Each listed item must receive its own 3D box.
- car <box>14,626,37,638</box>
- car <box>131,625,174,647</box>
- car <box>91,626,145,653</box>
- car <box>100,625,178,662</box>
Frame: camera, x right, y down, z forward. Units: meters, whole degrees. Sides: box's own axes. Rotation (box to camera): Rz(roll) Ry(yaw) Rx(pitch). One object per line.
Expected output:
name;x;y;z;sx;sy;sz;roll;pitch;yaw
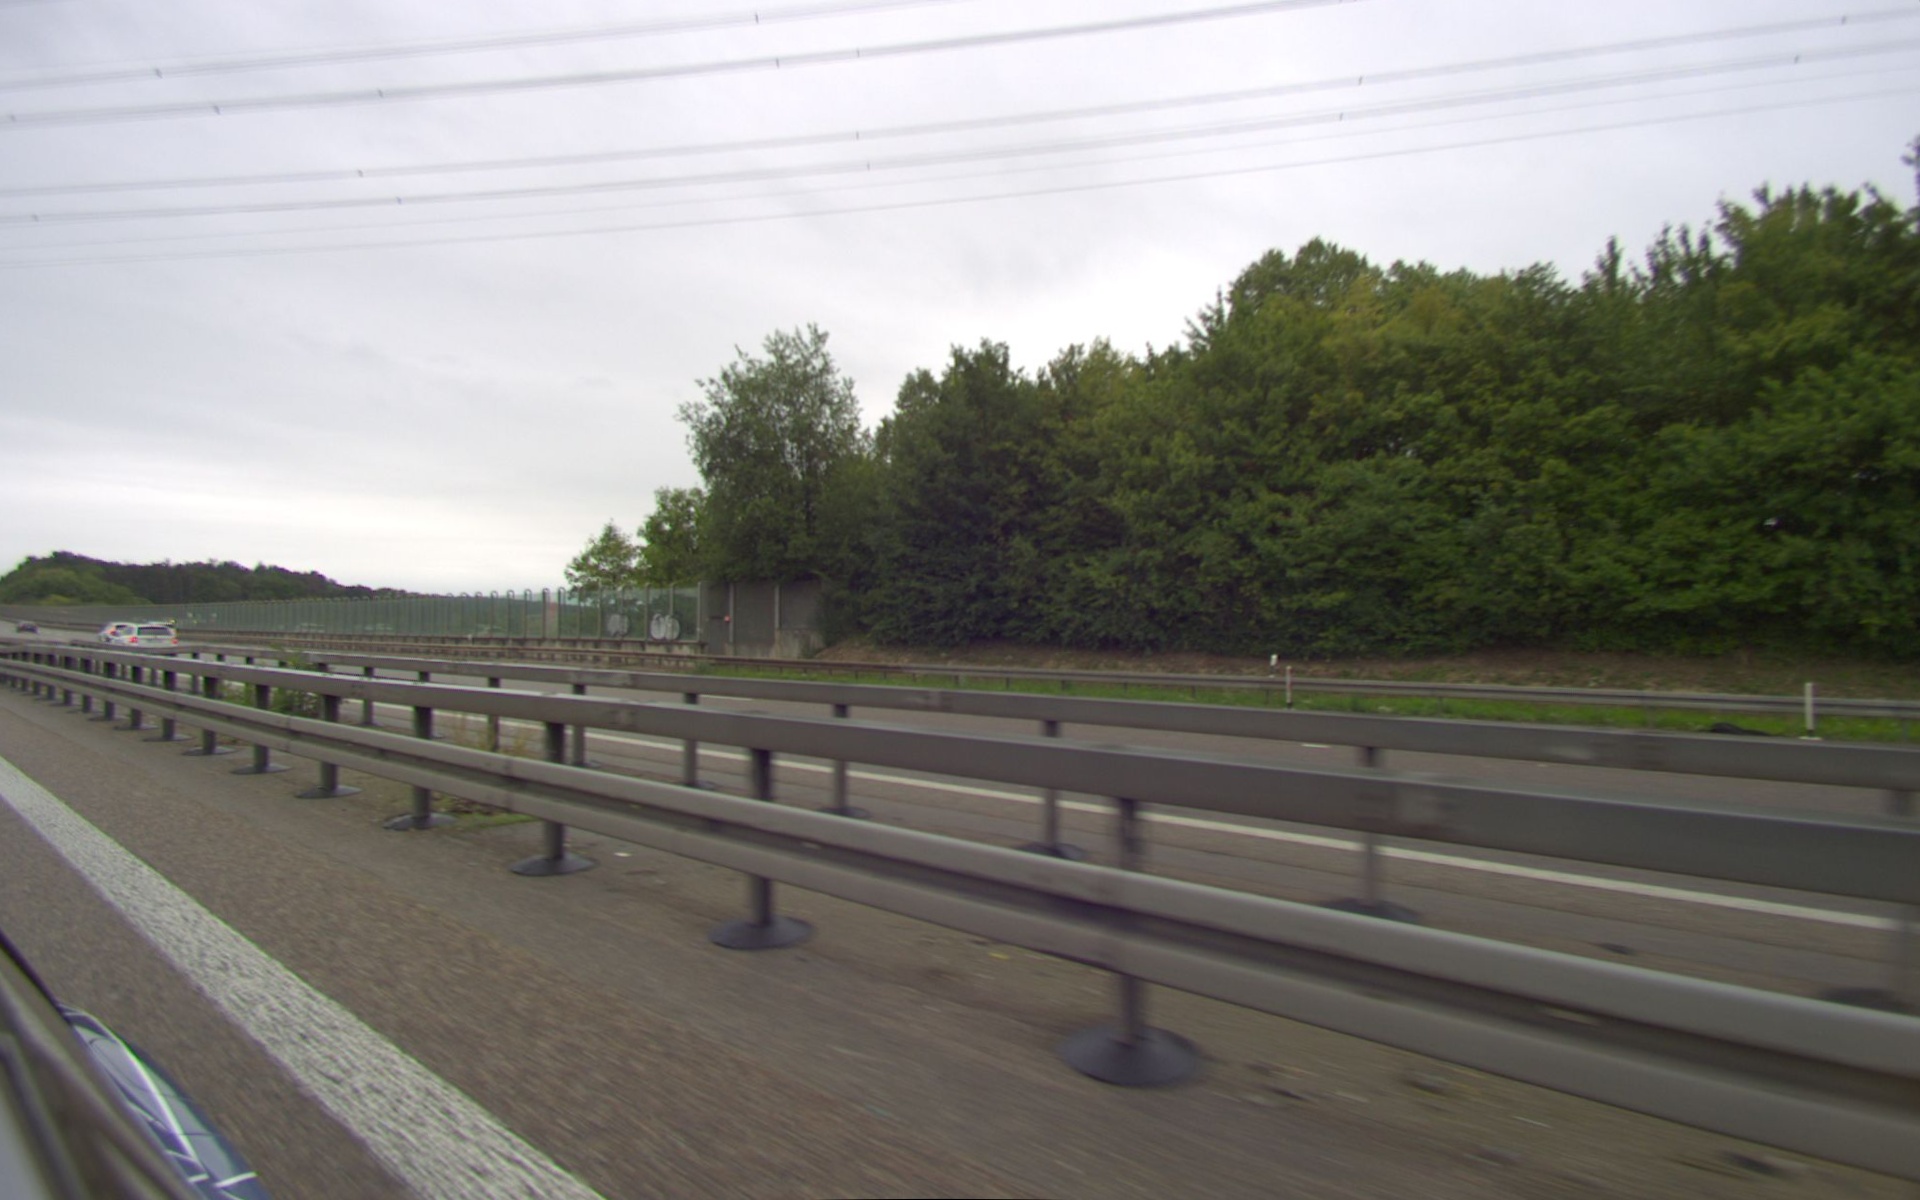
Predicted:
car;-118.383;4.054;128.193;3.813;1.511;1.809;-2;-3;41
car;-68.852;3.098;86.261;4.913;1.833;1.929;-2;-3;41
car;-54.126;2.494;65.017;4.711;1.678;1.885;-1;-3;41
car;-34.908;1.841;42.984;4.759;1.472;1.739;-1;-4;41
